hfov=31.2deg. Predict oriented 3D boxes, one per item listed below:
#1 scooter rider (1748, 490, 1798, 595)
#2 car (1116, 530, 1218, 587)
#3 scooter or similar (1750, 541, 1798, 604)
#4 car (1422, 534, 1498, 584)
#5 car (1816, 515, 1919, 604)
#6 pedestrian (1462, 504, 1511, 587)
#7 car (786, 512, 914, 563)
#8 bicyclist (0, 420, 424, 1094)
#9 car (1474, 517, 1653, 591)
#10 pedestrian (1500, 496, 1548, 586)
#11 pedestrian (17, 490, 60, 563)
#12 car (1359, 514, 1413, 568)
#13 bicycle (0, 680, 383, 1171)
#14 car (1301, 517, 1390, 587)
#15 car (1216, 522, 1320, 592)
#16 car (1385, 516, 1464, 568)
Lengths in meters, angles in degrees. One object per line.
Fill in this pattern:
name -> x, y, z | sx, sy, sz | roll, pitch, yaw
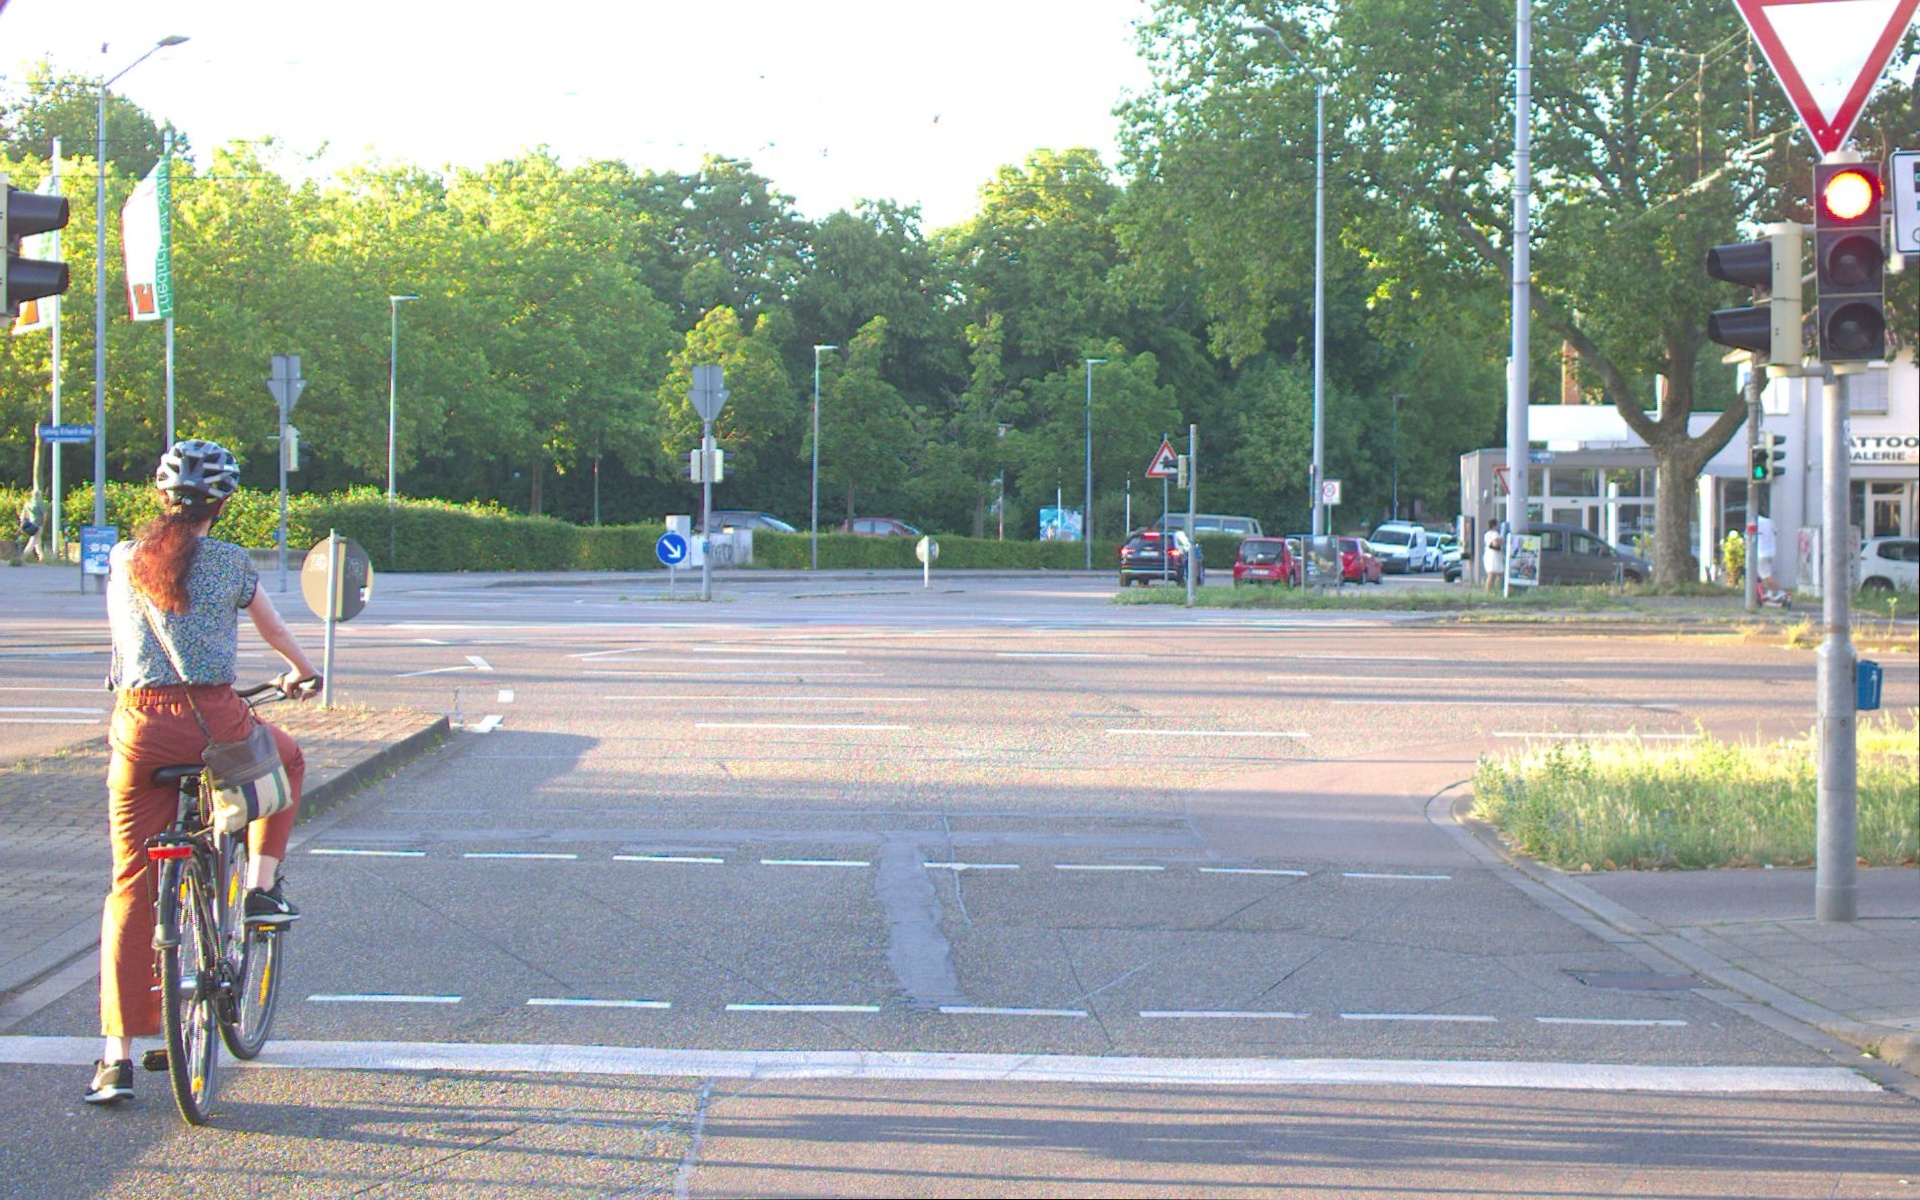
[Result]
scooter rider -> 14.392, -1.015, 60.866 | 0.702, 1.848, 0.669 | 1, 0, -1
car -> 5.792, -1.142, 95.715 | 1.757, 1.535, 4.397 | 1, 0, 18
scooter or similar -> 14.399, -0.492, 60.828 | 0.510, 1.086, 1.243 | 1, 1, -1
car -> 16.813, -1.405, 115.502 | 1.916, 1.597, 3.997 | 1, 2, 17
car -> 20.401, -0.848, 72.473 | 4.230, 1.840, 2.000 | 1, 1, 2
pedestrian -> 10.465, -1.081, 68.332 | 0.719, 1.633, 0.896 | 1, 1, 24
car -> -3.486, -1.998, 109.513 | 3.987, 1.555, 2.000 | 1, 1, 1
bicyclist -> -2.040, 0.390, 9.264 | 1.031, 1.712, 0.996 | 1, 1, -1
car -> 15.586, -1.204, 88.961 | 4.378, 1.828, 1.949 | 1, 1, 5
pedestrian -> 11.165, -1.172, 68.017 | 0.719, 1.748, 0.896 | 1, 1, 24
pedestrian -> -22.372, -1.792, 83.470 | 0.894, 1.748, 0.721 | 0, 1, -26
car -> 16.238, -2.272, 131.170 | 1.994, 2.007, 3.999 | 1, 1, 7
bicycle -> -2.041, 0.801, 9.257 | 0.634, 1.064, 2.122 | 1, 1, -1
car -> 11.610, -1.464, 103.310 | 1.916, 2.040, 3.997 | 1, 2, 17
car -> 8.597, -1.218, 95.698 | 1.870, 1.868, 3.870 | 1, 2, 21
car -> 18.341, -2.288, 135.697 | 1.996, 2.007, 3.995 | 1, 2, 24
